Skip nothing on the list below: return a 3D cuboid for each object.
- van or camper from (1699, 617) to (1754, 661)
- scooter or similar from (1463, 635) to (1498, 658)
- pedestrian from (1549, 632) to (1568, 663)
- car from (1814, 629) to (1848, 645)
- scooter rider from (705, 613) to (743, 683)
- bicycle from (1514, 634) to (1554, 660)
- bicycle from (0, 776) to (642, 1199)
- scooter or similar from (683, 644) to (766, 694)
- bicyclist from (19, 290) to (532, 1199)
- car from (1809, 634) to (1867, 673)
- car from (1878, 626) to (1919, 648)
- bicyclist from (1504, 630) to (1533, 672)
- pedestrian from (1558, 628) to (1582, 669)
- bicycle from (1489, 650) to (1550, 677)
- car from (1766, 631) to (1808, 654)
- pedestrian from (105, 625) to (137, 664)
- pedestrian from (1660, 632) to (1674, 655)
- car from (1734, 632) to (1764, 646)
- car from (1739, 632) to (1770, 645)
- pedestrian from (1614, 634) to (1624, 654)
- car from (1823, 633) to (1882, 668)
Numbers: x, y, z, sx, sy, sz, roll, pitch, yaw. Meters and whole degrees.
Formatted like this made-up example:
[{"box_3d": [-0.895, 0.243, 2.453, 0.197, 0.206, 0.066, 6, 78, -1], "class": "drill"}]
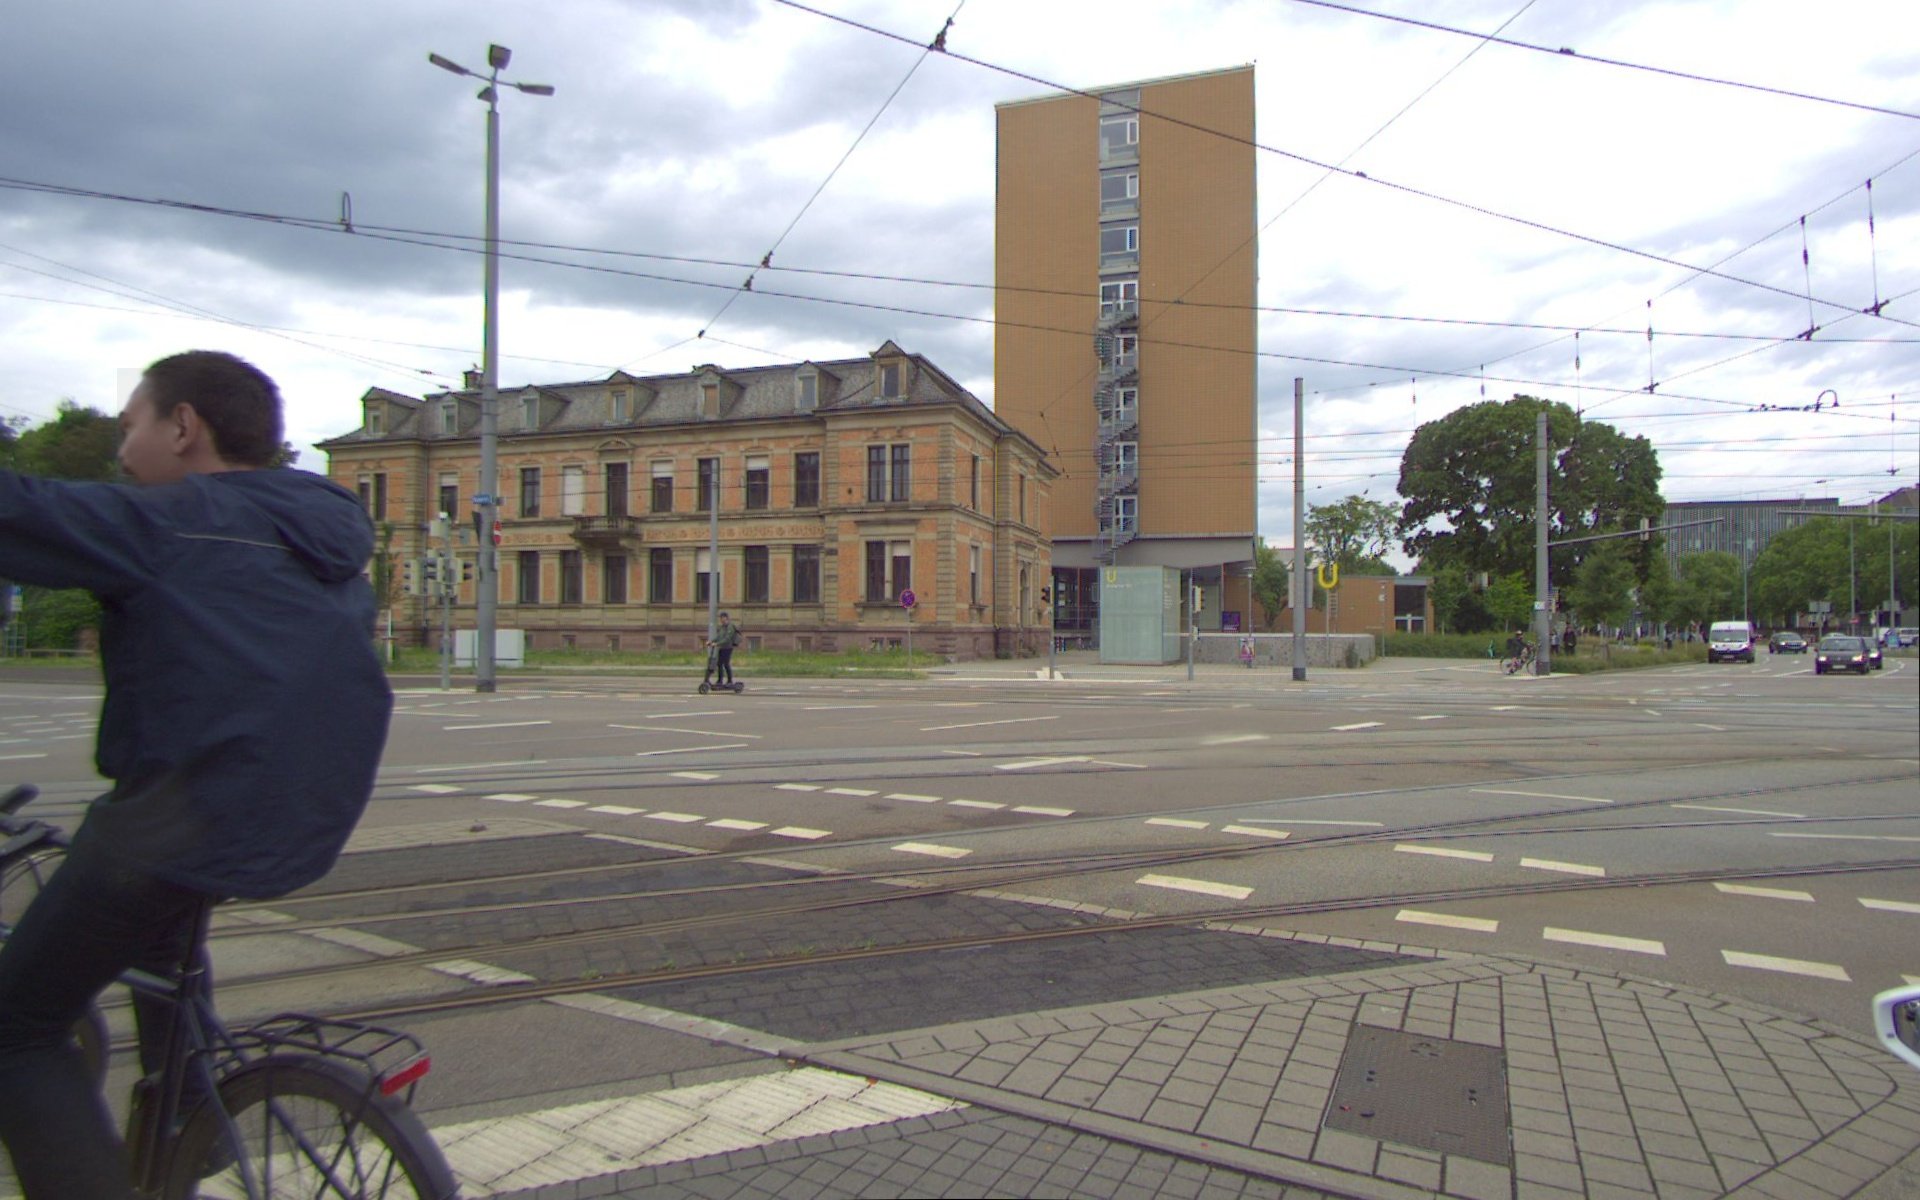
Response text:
[{"box_3d": [46.673, 2.380, 61.118, 2.253, 2.560, 5.545, -3, -3, 41], "class": "van or camper"}, {"box_3d": [30.393, 2.720, 58.681, 1.745, 1.319, 0.629, -1, -2, 32], "class": "scooter or similar"}, {"box_3d": [34.477, 2.728, 57.896, 0.681, 1.756, 0.740, 1, -2, -41], "class": "pedestrian"}, {"box_3d": [97.779, 4.179, 112.807, 1.963, 1.773, 3.996, -1, -2, 26], "class": "car"}, {"box_3d": [-5.661, 1.139, 24.114, 0.806, 1.649, 0.569, 0, -1, -6], "class": "scooter rider"}, {"box_3d": [33.474, 2.728, 58.548, 2.221, 1.468, 0.845, 1, -2, -22], "class": "bicycle"}, {"box_3d": [-1.427, 0.963, 1.957, 1.583, 1.084, 0.528, -1, -2, 24], "class": "bicycle"}, {"box_3d": [-5.644, 1.650, 24.134, 1.871, 1.180, 0.574, 0, -1, -6], "class": "scooter or similar"}, {"box_3d": [-1.261, 0.365, 1.895, 0.642, 1.660, 0.517, -1, -2, 24], "class": "bicyclist"}, {"box_3d": [36.403, 2.201, 41.627, 1.602, 1.535, 3.643, -3, -3, 44], "class": "car"}, {"box_3d": [90.082, 3.506, 96.280, 1.962, 2.040, 3.998, -1, -2, 24], "class": "car"}, {"box_3d": [23.294, 2.114, 41.911, 0.786, 1.678, 0.806, 2, 0, -37], "class": "bicyclist"}, {"box_3d": [30.211, 2.400, 49.715, 0.653, 2.006, 0.812, 1, -2, -41], "class": "pedestrian"}, {"box_3d": [23.293, 2.615, 41.870, 0.788, 1.042, 2.098, 2, -2, -37], "class": "bicycle"}, {"box_3d": [66.695, 3.434, 81.074, 1.844, 1.747, 4.703, -2, -3, 30], "class": "car"}, {"box_3d": [-40.073, 2.107, 47.983, 0.833, 1.856, 0.810, 0, -1, 19], "class": "pedestrian"}, {"box_3d": [59.002, 3.627, 83.784, 0.882, 1.866, 0.664, -1, -2, 39], "class": "pedestrian"}, {"box_3d": [101.764, 4.984, 129.515, 1.962, 1.704, 4.009, 0, -2, 22], "class": "car"}, {"box_3d": [107.220, 5.153, 135.536, 1.960, 1.773, 4.001, 0, -2, 18], "class": "car"}, {"box_3d": [52.036, 3.493, 79.319, 0.554, 1.562, 0.752, -1, -2, 39], "class": "pedestrian"}, {"box_3d": [41.988, 2.353, 47.233, 1.852, 1.527, 4.452, -5, -5, 44], "class": "car"}]
